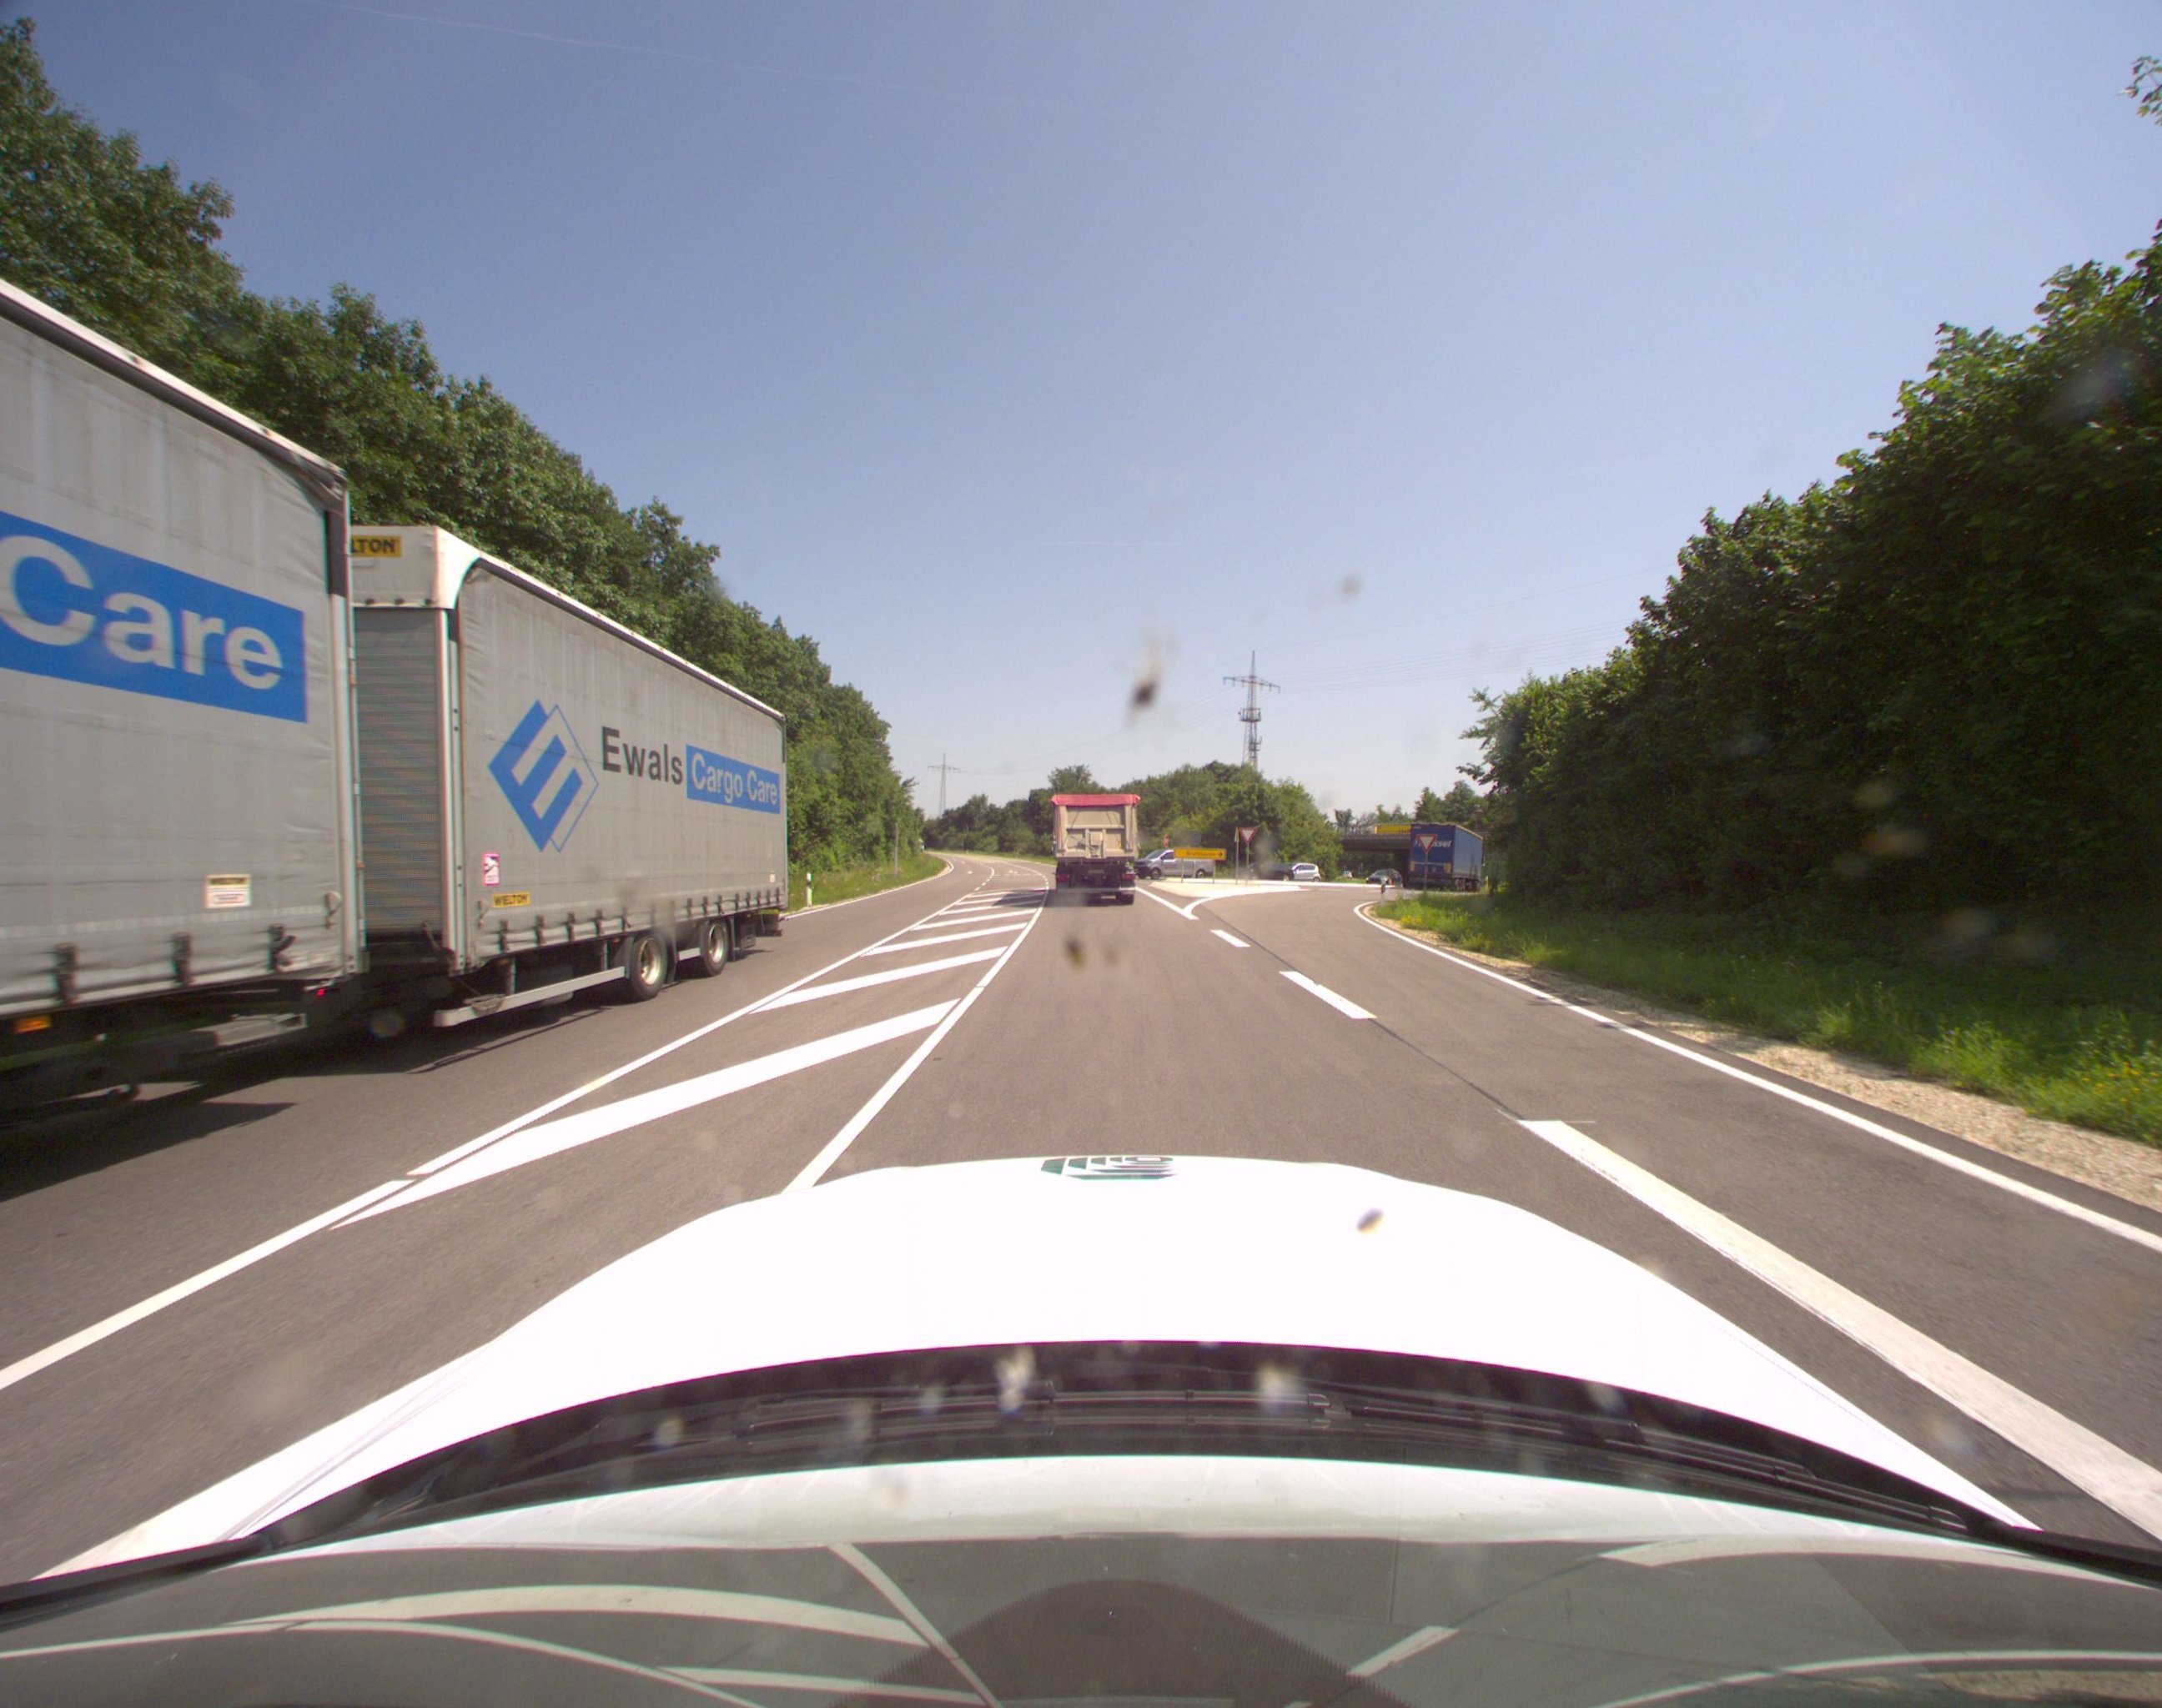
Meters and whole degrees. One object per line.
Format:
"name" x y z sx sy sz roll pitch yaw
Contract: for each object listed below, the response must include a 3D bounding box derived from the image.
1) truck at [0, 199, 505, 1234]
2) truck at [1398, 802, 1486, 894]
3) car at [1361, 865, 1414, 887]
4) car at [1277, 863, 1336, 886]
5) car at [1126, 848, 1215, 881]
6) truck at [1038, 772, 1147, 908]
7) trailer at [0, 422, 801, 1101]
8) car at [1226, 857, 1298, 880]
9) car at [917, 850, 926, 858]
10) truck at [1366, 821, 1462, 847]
"truck" -5.541 -0.546 0.639 2.792 4.095 11.050 0 0 -3
"truck" 24.416 -0.321 54.450 3.330 5.315 15.437 -1 -1 31
"car" 23.279 1.668 61.806 4.115 1.599 1.791 2 -2 -37
"car" 16.318 1.481 58.916 4.005 1.580 1.828 0 -1 -30
"car" 5.653 0.686 51.279 5.235 1.907 1.998 2 -2 -24
"truck" 0.040 -0.446 29.855 2.888 3.962 11.913 0 0 -5
"trailer" -6.011 -0.558 9.449 2.822 4.096 8.990 0 0 -3
"car" 12.004 0.915 53.915 4.574 1.474 1.852 0 0 -28
"car" -36.275 -0.010 184.852 1.844 1.779 4.872 0 -1 -12
"truck" 57.446 -3.408 141.540 4.461 3.919 16.569 0 -1 -27
